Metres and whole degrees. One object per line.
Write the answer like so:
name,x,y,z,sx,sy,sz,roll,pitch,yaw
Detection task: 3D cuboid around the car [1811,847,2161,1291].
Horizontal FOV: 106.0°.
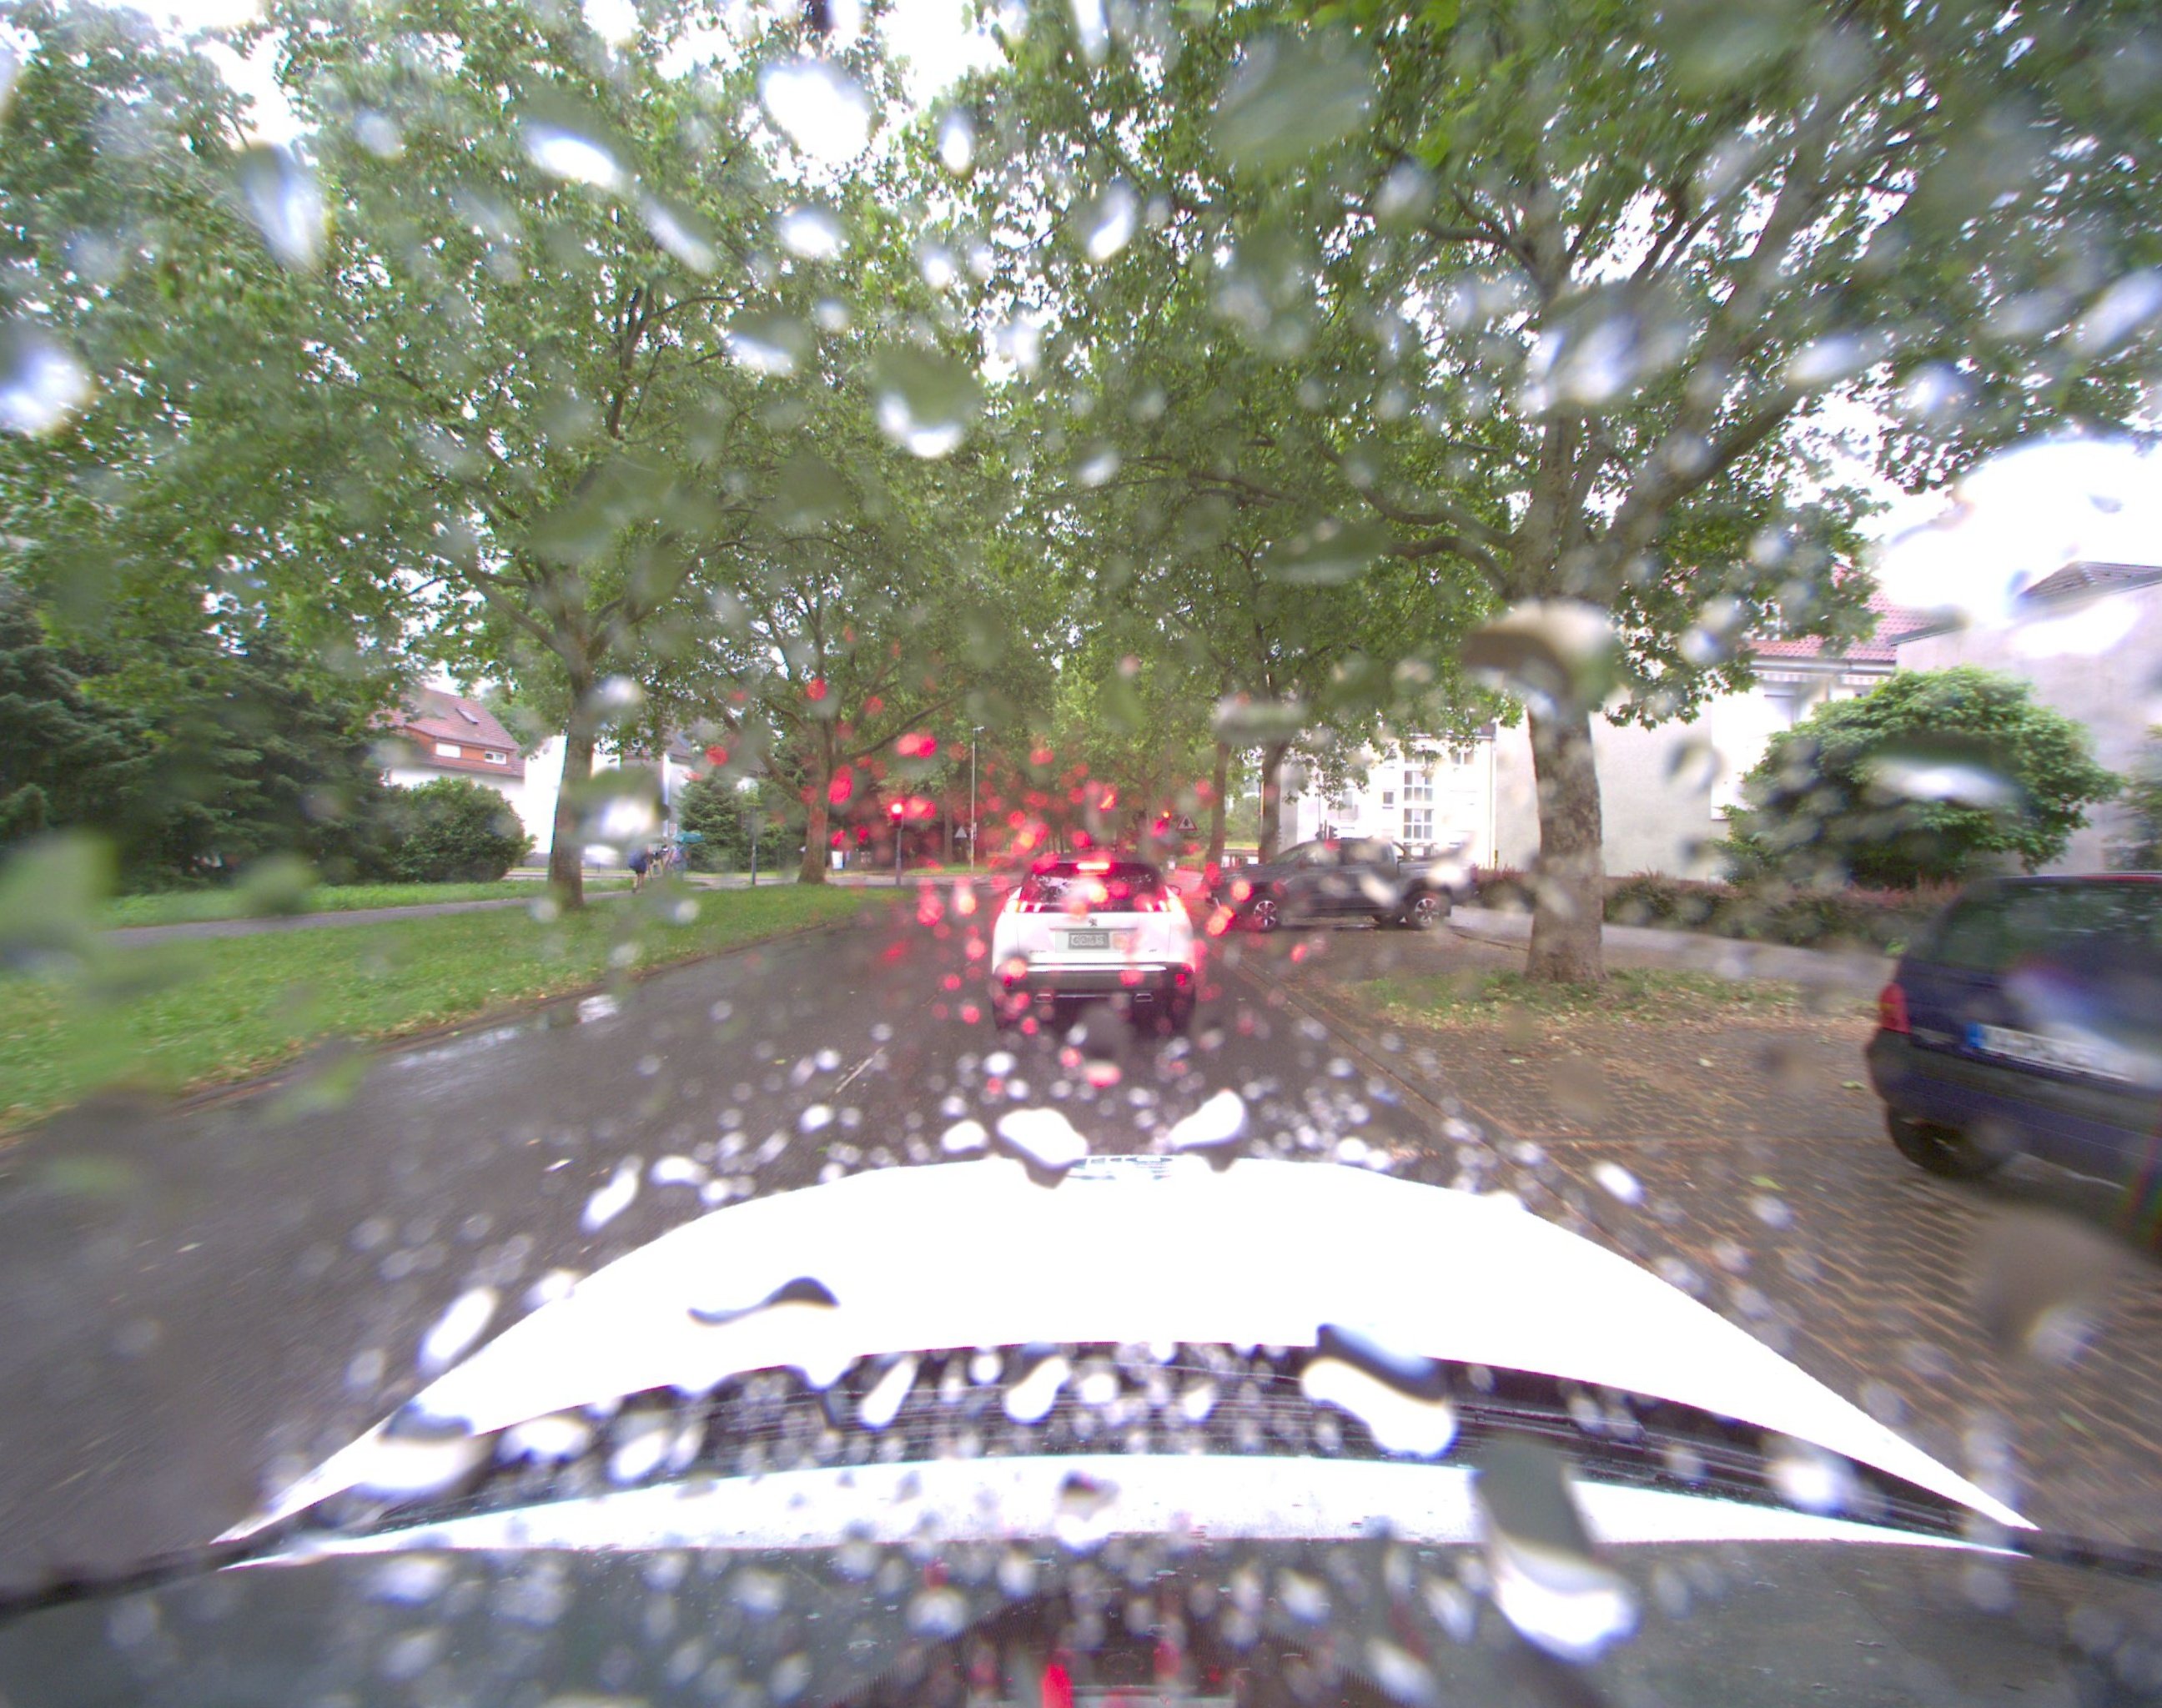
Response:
car,5.247,0.716,3.199,3.344,1.464,1.618,0,0,0

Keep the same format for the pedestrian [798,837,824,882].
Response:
pedestrian,-10.636,0.212,32.100,0.818,1.744,0.639,1,0,-2

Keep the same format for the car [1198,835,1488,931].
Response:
car,5.197,0.539,16.524,5.330,1.807,1.842,0,0,-6

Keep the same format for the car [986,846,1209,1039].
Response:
car,0.184,0.691,8.535,1.774,1.536,4.059,0,0,1

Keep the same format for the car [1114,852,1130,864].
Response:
car,5.667,0.531,112.484,1.901,1.510,3.928,1,0,-2

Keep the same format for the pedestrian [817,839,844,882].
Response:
pedestrian,-10.241,0.253,33.316,0.856,1.744,0.639,1,0,-2

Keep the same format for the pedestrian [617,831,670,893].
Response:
pedestrian,-12.551,0.218,23.390,1.029,1.765,0.879,0,0,1

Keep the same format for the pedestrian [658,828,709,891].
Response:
pedestrian,-11.355,0.150,23.286,1.029,1.765,0.838,0,0,1
